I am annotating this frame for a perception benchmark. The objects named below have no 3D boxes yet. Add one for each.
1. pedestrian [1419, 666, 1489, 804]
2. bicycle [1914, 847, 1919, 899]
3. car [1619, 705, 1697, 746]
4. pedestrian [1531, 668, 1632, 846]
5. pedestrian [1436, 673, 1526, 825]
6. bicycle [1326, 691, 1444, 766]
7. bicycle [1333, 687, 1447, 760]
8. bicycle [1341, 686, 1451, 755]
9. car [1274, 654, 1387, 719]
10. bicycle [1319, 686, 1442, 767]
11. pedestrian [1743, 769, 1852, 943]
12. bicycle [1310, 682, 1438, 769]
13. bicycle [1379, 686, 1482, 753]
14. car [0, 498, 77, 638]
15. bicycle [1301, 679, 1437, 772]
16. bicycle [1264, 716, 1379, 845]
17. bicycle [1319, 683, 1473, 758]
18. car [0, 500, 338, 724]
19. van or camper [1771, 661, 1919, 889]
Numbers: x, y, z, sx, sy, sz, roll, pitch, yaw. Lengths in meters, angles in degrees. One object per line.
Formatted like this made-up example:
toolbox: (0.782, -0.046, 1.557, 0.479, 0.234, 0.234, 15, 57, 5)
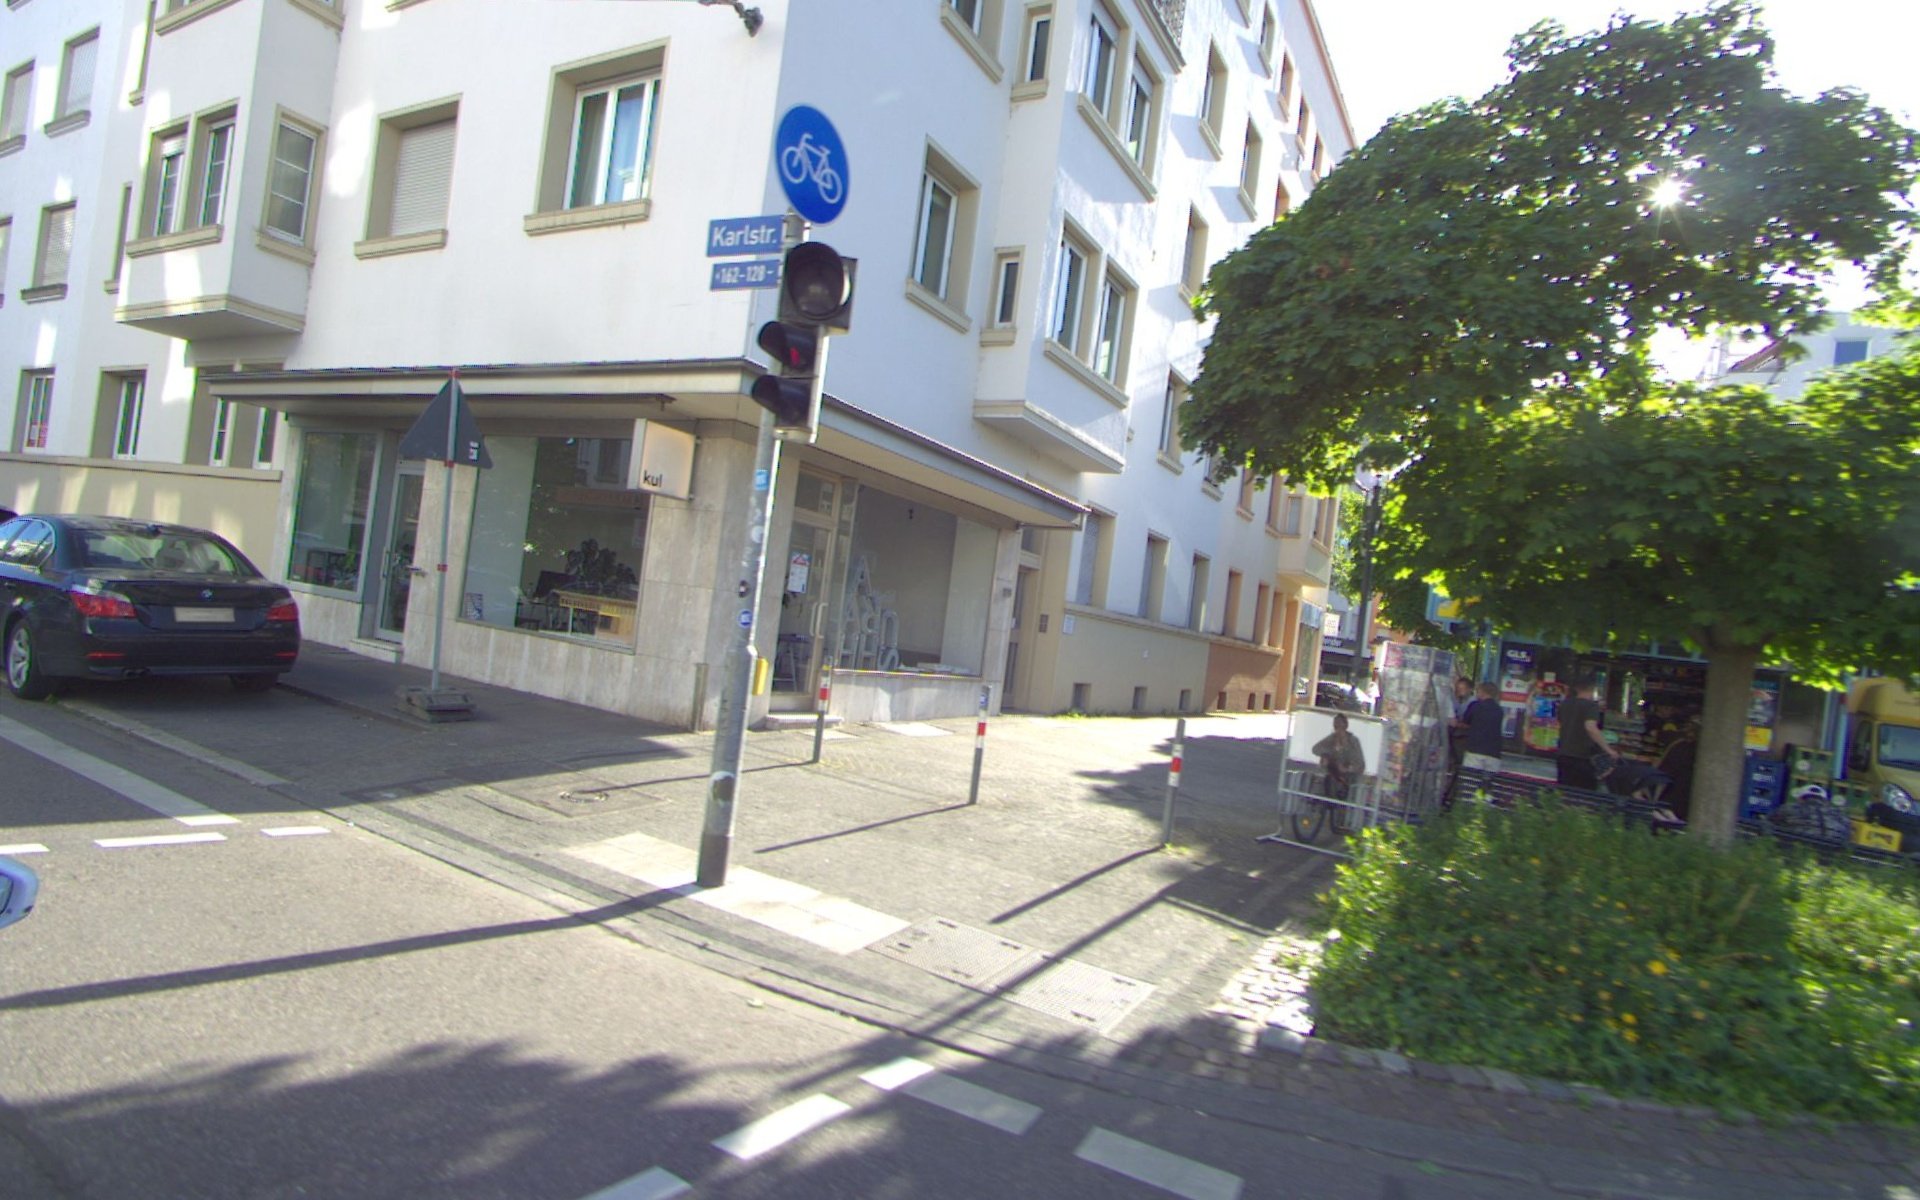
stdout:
pedestrian: (6.236, 1.689, 12.695, 0.582, 1.622, 0.551, 7, 0, 31)
bicycle: (11.424, 2.828, 11.363, 0.546, 1.440, 2.069, 7, -1, 36)
car: (45.842, 8.200, 66.177, 3.933, 2.038, 1.997, 7, -1, 31)
pedestrian: (6.751, 1.688, 10.944, 0.532, 1.810, 0.552, 7, 0, -3)
pedestrian: (6.087, 1.710, 11.744, 0.732, 1.622, 0.615, 7, 0, 31)
bicycle: (8.530, 2.550, 20.226, 2.000, 1.165, 0.661, 7, 0, 31)
bicycle: (8.897, 2.540, 20.854, 2.000, 1.165, 0.661, 7, 0, 31)
bicycle: (9.377, 2.573, 21.669, 2.000, 1.165, 0.661, 7, 0, 31)
car: (15.089, 3.491, 41.020, 3.933, 2.038, 1.601, 7, -1, 31)
bicycle: (8.187, 2.435, 19.619, 1.999, 1.165, 0.661, 9, 1, 31)
pedestrian: (6.825, 2.057, 8.231, 0.543, 1.227, 0.732, 7, -1, 38)
bicycle: (7.762, 2.332, 18.910, 1.999, 1.233, 0.661, 9, 1, 31)
bicycle: (11.013, 2.774, 23.586, 1.999, 1.165, 0.661, 9, 1, 31)
car: (-12.614, -0.572, 11.862, 4.429, 1.527, 1.859, 6, 1, 29)
bicycle: (7.229, 2.194, 17.832, 1.999, 1.233, 0.661, 9, 1, 31)
bicycle: (3.232, 1.559, 8.906, 0.354, 0.996, 1.663, 7, -1, 38)
bicycle: (9.644, 2.647, 22.317, 2.972, 1.165, 0.671, 7, -1, 32)
car: (-7.996, -0.045, 9.364, 4.838, 1.527, 1.749, 7, 1, 32)
van or camper: (14.589, 2.625, 15.403, 2.182, 2.846, 6.924, 7, -2, 31)
